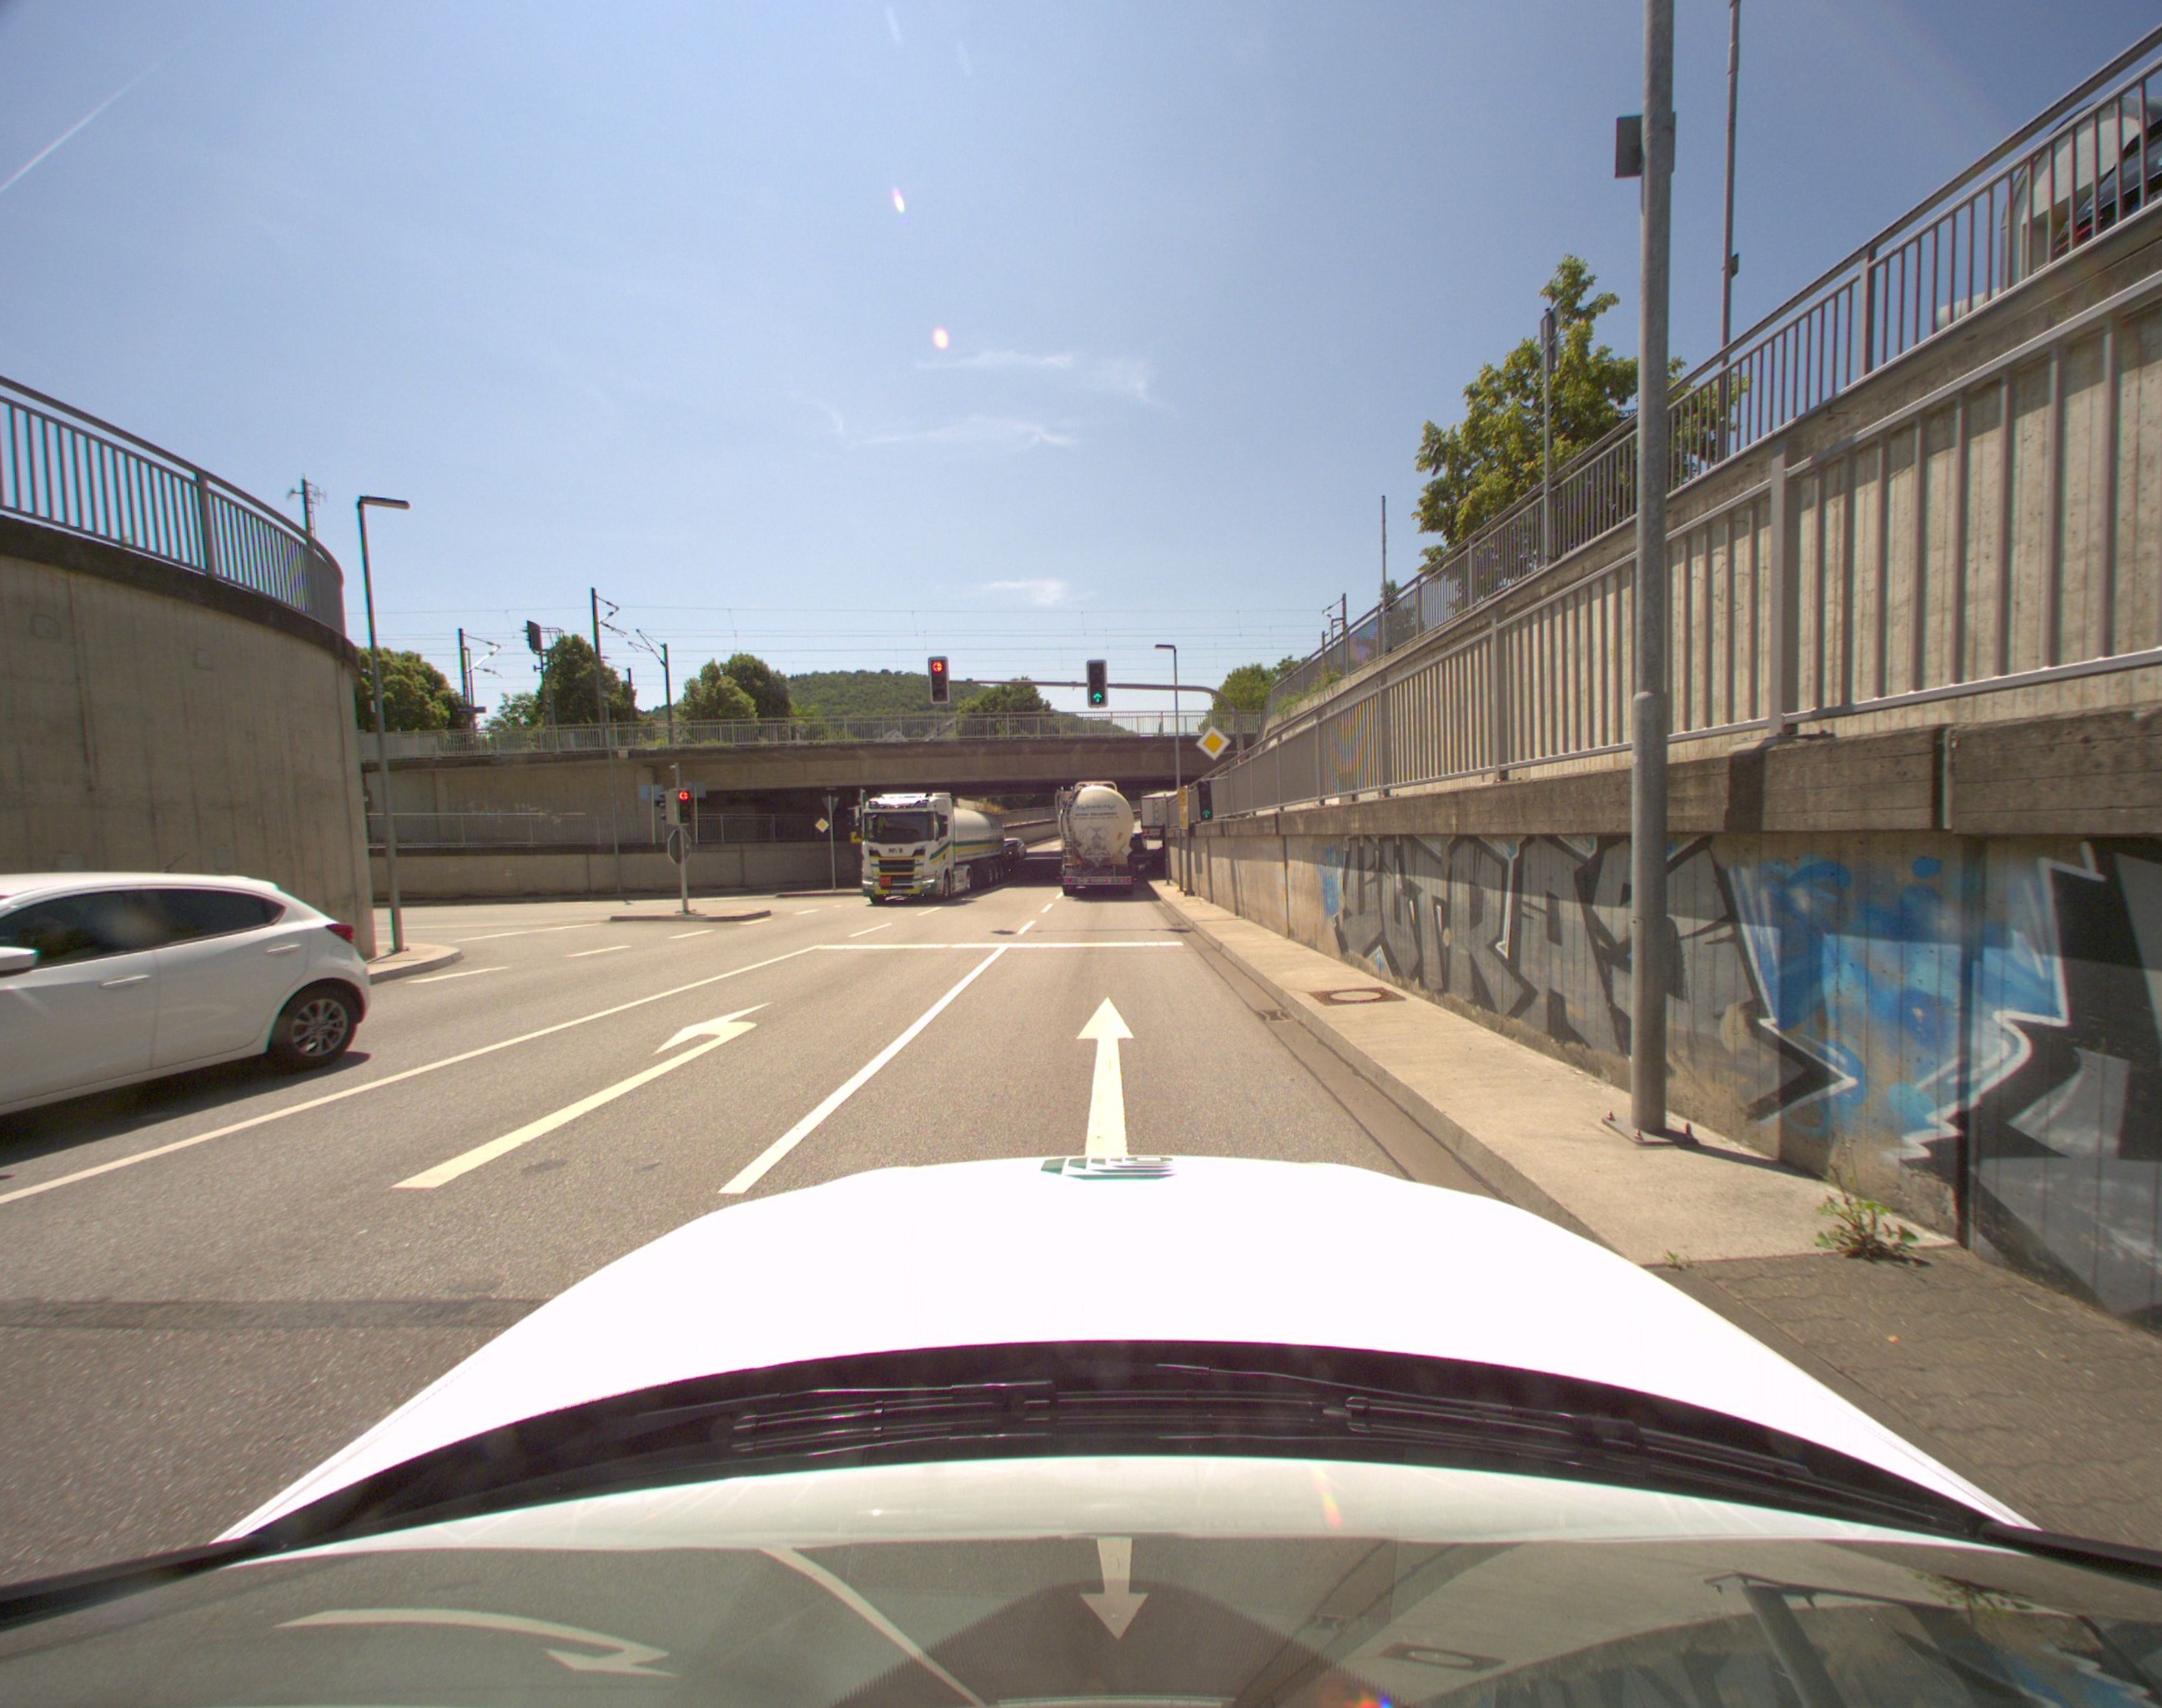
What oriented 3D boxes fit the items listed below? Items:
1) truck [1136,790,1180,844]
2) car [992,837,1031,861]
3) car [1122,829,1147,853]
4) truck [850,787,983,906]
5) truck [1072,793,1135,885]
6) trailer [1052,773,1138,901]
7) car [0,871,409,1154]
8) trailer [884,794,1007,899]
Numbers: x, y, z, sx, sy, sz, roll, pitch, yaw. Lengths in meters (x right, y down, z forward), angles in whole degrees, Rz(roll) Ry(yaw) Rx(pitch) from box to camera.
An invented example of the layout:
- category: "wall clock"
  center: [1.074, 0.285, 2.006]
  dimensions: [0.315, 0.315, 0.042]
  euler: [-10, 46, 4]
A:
- category: "truck"
  center: [7.812, -3.712, 81.161]
  dimensions: [3.059, 4.998, 10.121]
  euler: [0, 3, 13]
- category: "car"
  center: [-4.991, -0.397, 58.978]
  dimensions: [1.769, 1.466, 3.845]
  euler: [-1, 3, 10]
- category: "car"
  center: [4.279, -1.057, 64.809]
  dimensions: [1.873, 1.638, 4.009]
  euler: [0, 5, 6]
- category: "truck"
  center: [-5.523, -0.251, 28.863]
  dimensions: [2.677, 3.663, 7.378]
  euler: [0, 0, 4]
- category: "truck"
  center: [1.188, -0.714, 39.978]
  dimensions: [2.724, 4.064, 6.535]
  euler: [-1, 1, 3]
- category: "trailer"
  center: [0.810, -0.618, 32.934]
  dimensions: [2.723, 4.064, 13.324]
  euler: [-1, 1, 3]
- category: "car"
  center: [-6.465, 0.857, 4.687]
  dimensions: [1.675, 1.440, 4.096]
  euler: [-1, 0, 2]
- category: "trailer"
  center: [-5.177, -0.268, 33.301]
  dimensions: [2.677, 3.663, 9.900]
  euler: [0, 0, 4]
